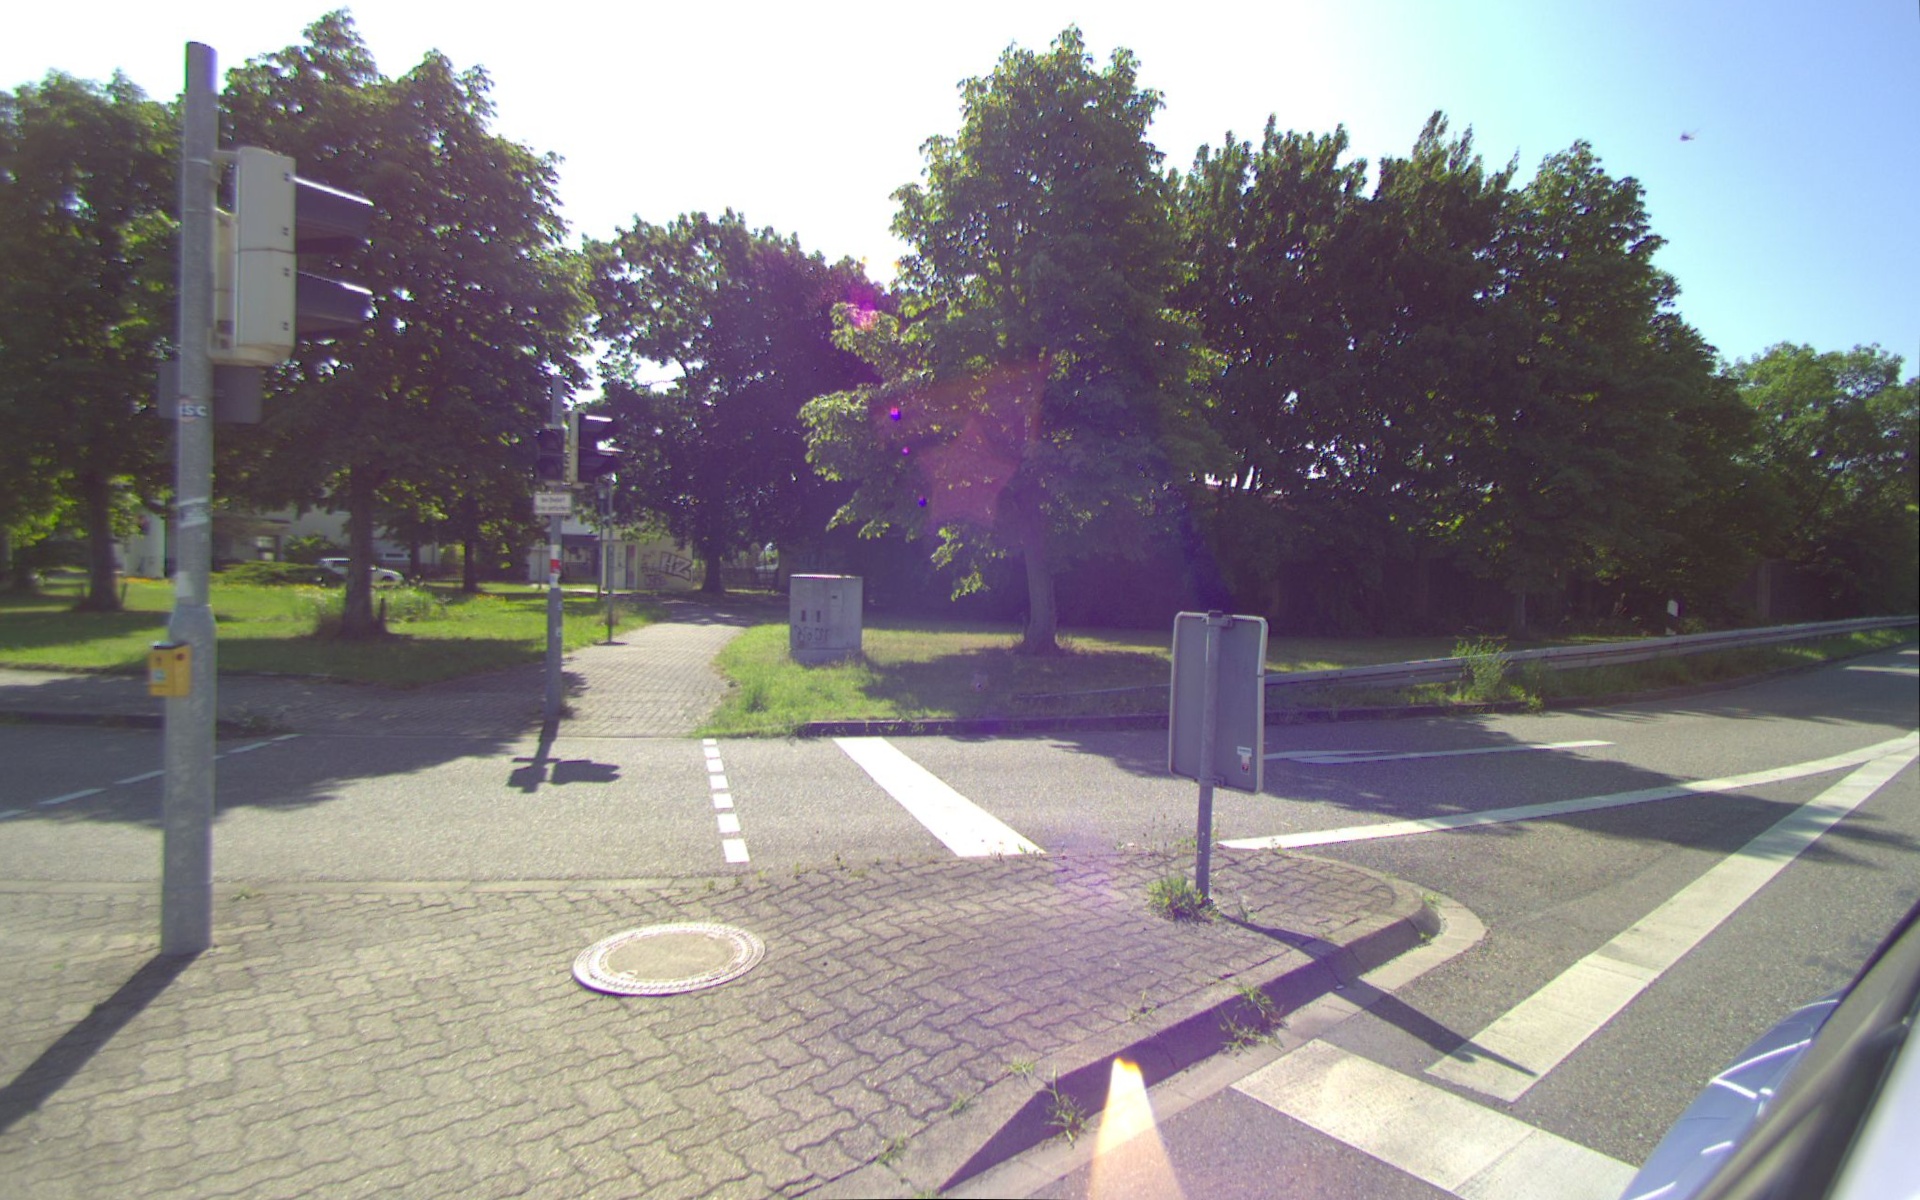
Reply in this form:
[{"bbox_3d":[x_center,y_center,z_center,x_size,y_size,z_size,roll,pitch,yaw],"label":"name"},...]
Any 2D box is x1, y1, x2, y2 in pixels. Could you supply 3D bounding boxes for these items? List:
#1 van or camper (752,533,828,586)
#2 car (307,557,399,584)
[{"bbox_3d":[-9.705,-2.310,57.461,1.966,2.866,4.807,0,2,-42],"label":"van or camper"},{"bbox_3d":[-31.626,-1.532,52.796,3.928,1.304,1.731,0,2,-39],"label":"car"}]
